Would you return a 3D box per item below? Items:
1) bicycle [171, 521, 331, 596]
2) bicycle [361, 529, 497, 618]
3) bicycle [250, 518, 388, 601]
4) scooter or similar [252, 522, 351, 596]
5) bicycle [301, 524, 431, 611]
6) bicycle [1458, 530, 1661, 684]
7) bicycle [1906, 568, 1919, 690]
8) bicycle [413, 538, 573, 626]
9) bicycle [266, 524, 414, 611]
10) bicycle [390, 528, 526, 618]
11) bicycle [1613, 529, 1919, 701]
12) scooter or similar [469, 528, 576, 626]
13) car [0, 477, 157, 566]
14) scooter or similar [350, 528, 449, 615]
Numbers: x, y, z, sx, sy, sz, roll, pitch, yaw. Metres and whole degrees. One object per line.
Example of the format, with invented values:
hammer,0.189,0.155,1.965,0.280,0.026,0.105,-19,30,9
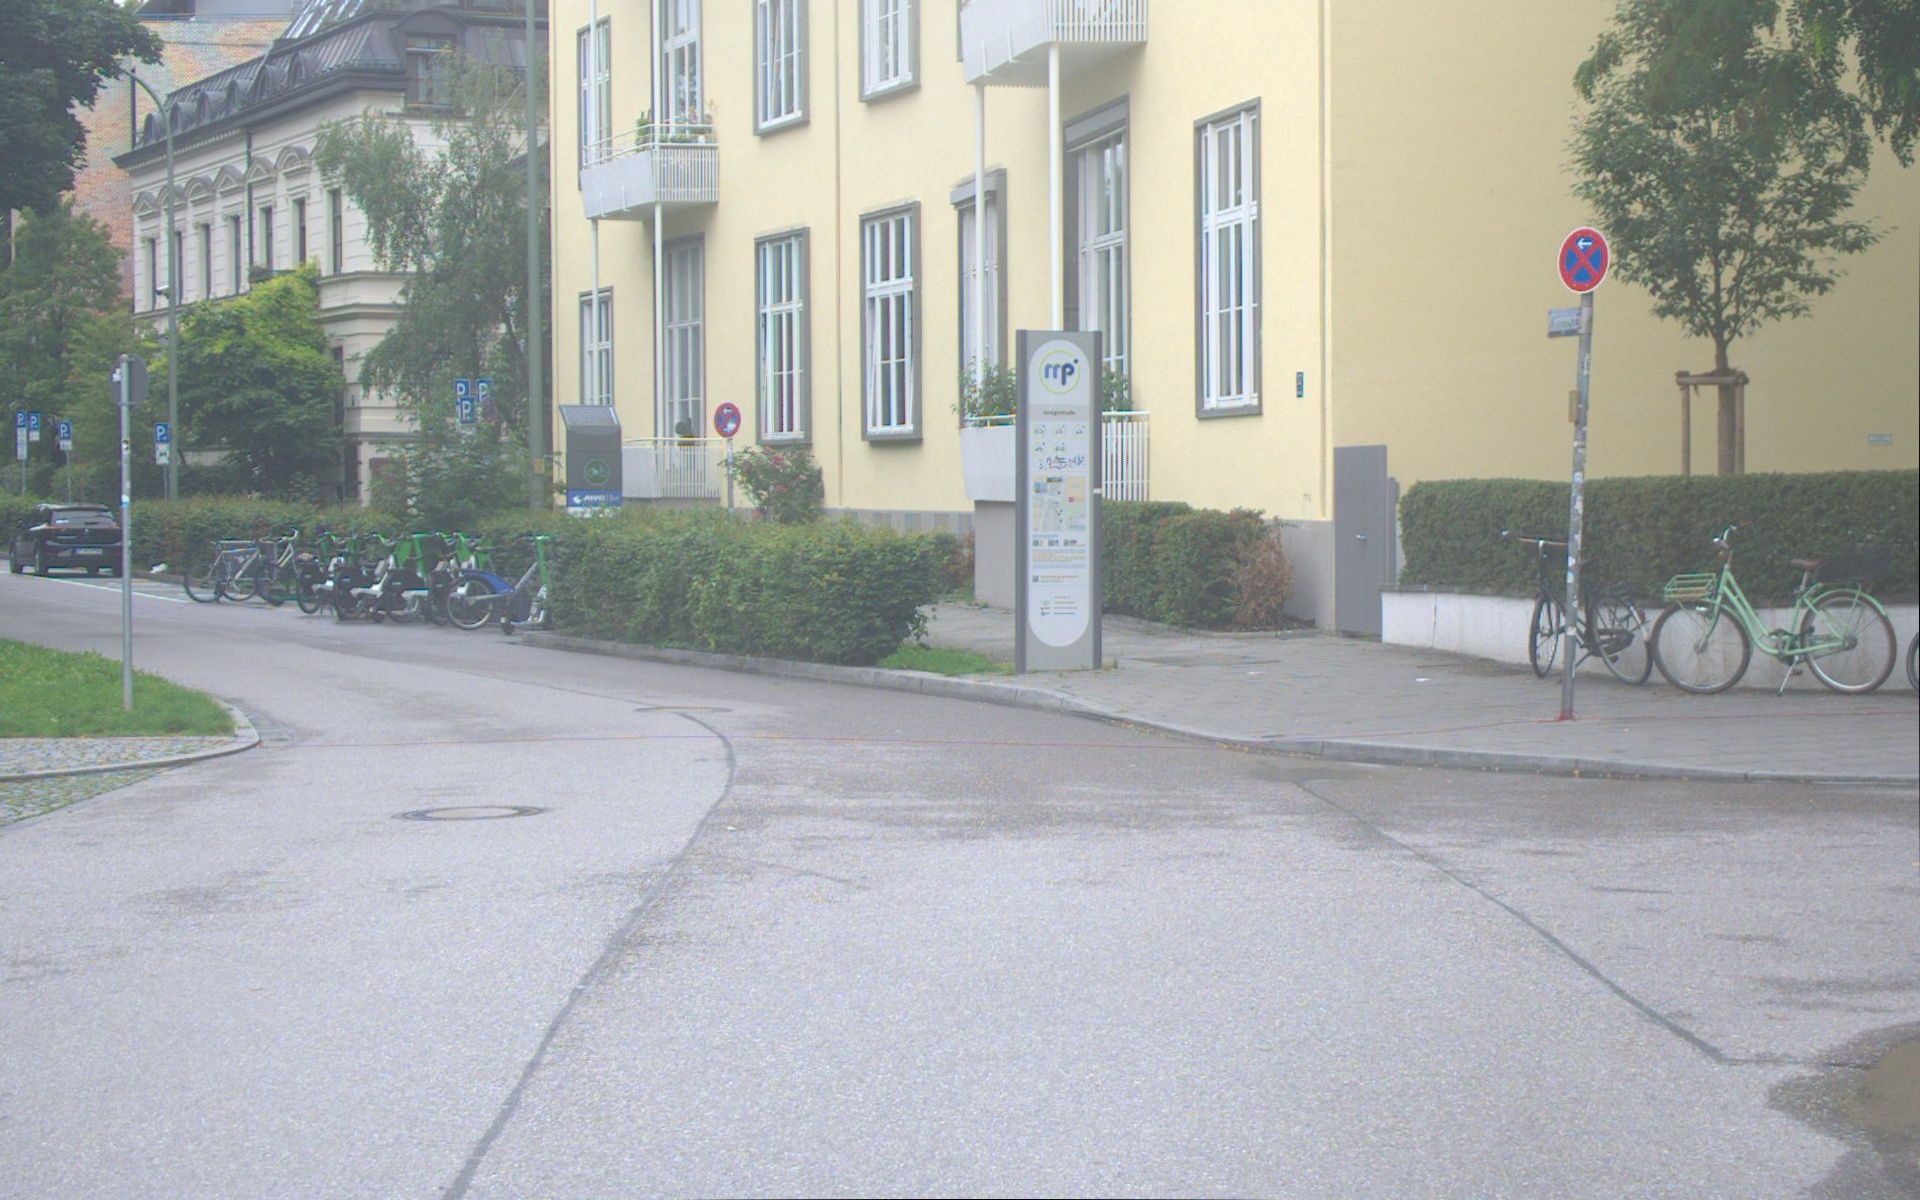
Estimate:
bicycle,-11.174,-0.666,54.219,2.331,1.082,0.693,-3,2,-29
bicycle,-6.948,-0.351,45.059,0.577,1.082,1.930,0,3,33
bicycle,-9.005,-0.585,48.364,0.763,1.082,2.138,-1,2,26
scooter or similar,-10.052,-0.632,52.482,1.405,1.084,0.597,-2,2,-6
bicycle,-7.897,-0.439,45.808,0.638,1.082,1.983,-1,2,26
bicycle,4.484,0.029,25.871,0.608,1.069,2.218,-2,2,-15
bicycle,7.299,0.189,22.243,2.212,0.776,0.609,0,2,22
bicycle,-5.732,-0.228,42.235,1.823,1.002,0.578,-3,2,-26
bicycle,-8.381,-0.455,46.562,0.697,1.082,2.336,-1,2,26
bicycle,-6.476,-0.355,44.472,0.577,1.082,1.930,0,3,33
bicycle,5.550,0.080,23.576,0.608,1.113,2.216,-2,2,-40
scooter or similar,-5.202,-0.278,40.912,0.496,1.105,1.407,0,2,29
car,-17.553,-1.584,68.165,1.863,1.628,4.283,-1,3,6
scooter or similar,-7.403,-0.382,45.440,0.496,1.084,1.407,0,2,29
